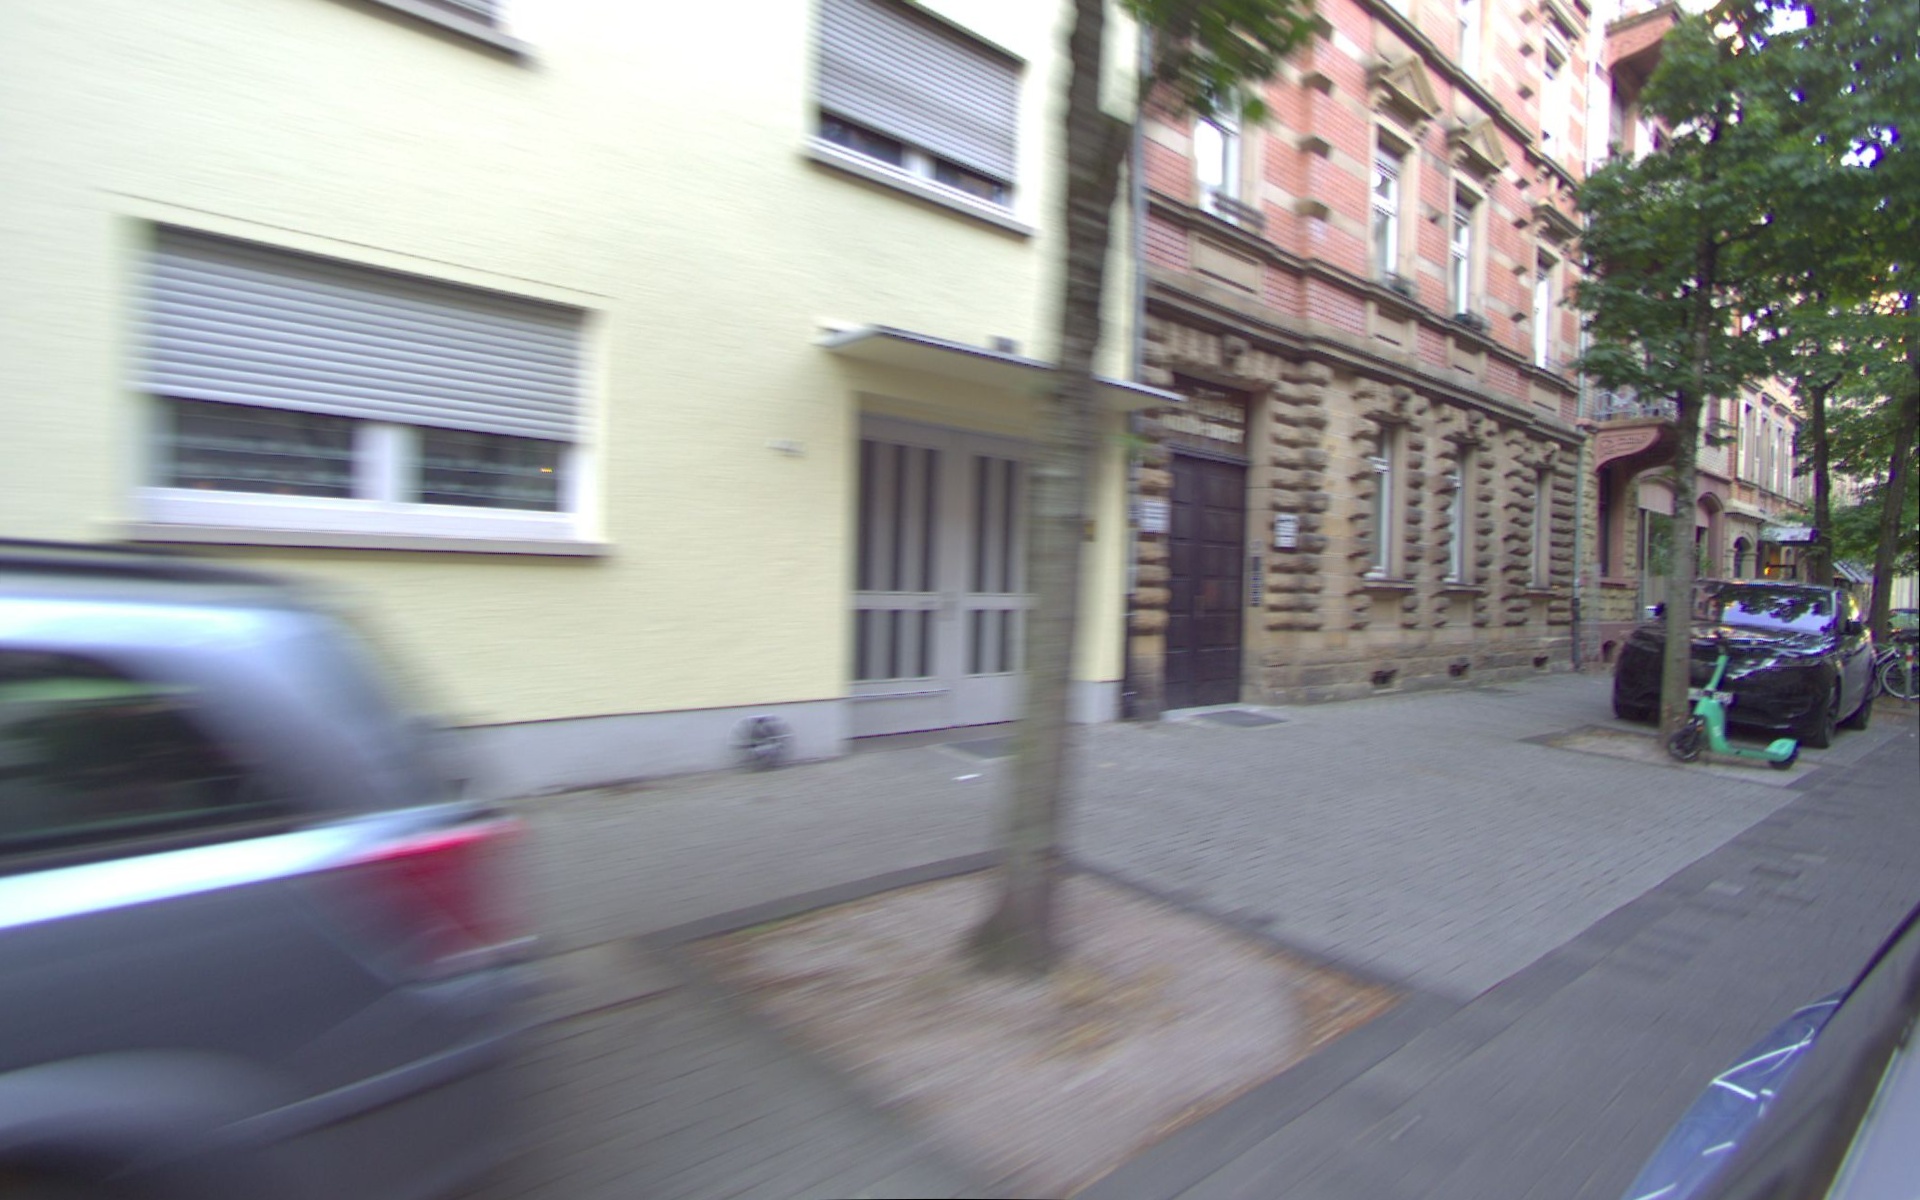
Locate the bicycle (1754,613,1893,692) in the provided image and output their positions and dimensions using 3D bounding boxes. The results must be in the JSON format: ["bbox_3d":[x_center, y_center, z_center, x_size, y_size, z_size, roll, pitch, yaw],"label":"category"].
[{"bbox_3d":[14.657,0.861,17.216,0.572,1.213,1.701,1,1,-38],"label":"bicycle"}]

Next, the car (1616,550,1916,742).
[{"bbox_3d":[9.960,0.417,12.361,4.727,1.855,2.018,0,3,-42],"label":"car"}]

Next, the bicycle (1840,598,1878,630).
[{"bbox_3d":[31.821,0.474,35.809,1.916,1.048,0.688,0,4,-41],"label":"bicycle"}]

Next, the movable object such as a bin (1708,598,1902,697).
[{"bbox_3d":[13.527,0.719,16.279,0.756,1.321,2.223,0,4,-38],"label":"movable object such as a bin"}]

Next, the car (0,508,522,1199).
[{"bbox_3d":[-2.928,0.589,1.014,4.234,1.481,1.761,0,2,-42],"label":"car"}]

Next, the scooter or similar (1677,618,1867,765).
[{"bbox_3d":[7.343,0.811,9.193,1.094,1.204,0.676,2,3,-1],"label":"scooter or similar"}]

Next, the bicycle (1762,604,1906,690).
[{"bbox_3d":[15.277,0.788,17.727,0.788,1.309,1.765,1,3,-41],"label":"bicycle"}]

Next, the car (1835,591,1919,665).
[{"bbox_3d":[23.093,0.703,24.313,1.769,1.618,2.804,0,4,-40],"label":"car"}]
